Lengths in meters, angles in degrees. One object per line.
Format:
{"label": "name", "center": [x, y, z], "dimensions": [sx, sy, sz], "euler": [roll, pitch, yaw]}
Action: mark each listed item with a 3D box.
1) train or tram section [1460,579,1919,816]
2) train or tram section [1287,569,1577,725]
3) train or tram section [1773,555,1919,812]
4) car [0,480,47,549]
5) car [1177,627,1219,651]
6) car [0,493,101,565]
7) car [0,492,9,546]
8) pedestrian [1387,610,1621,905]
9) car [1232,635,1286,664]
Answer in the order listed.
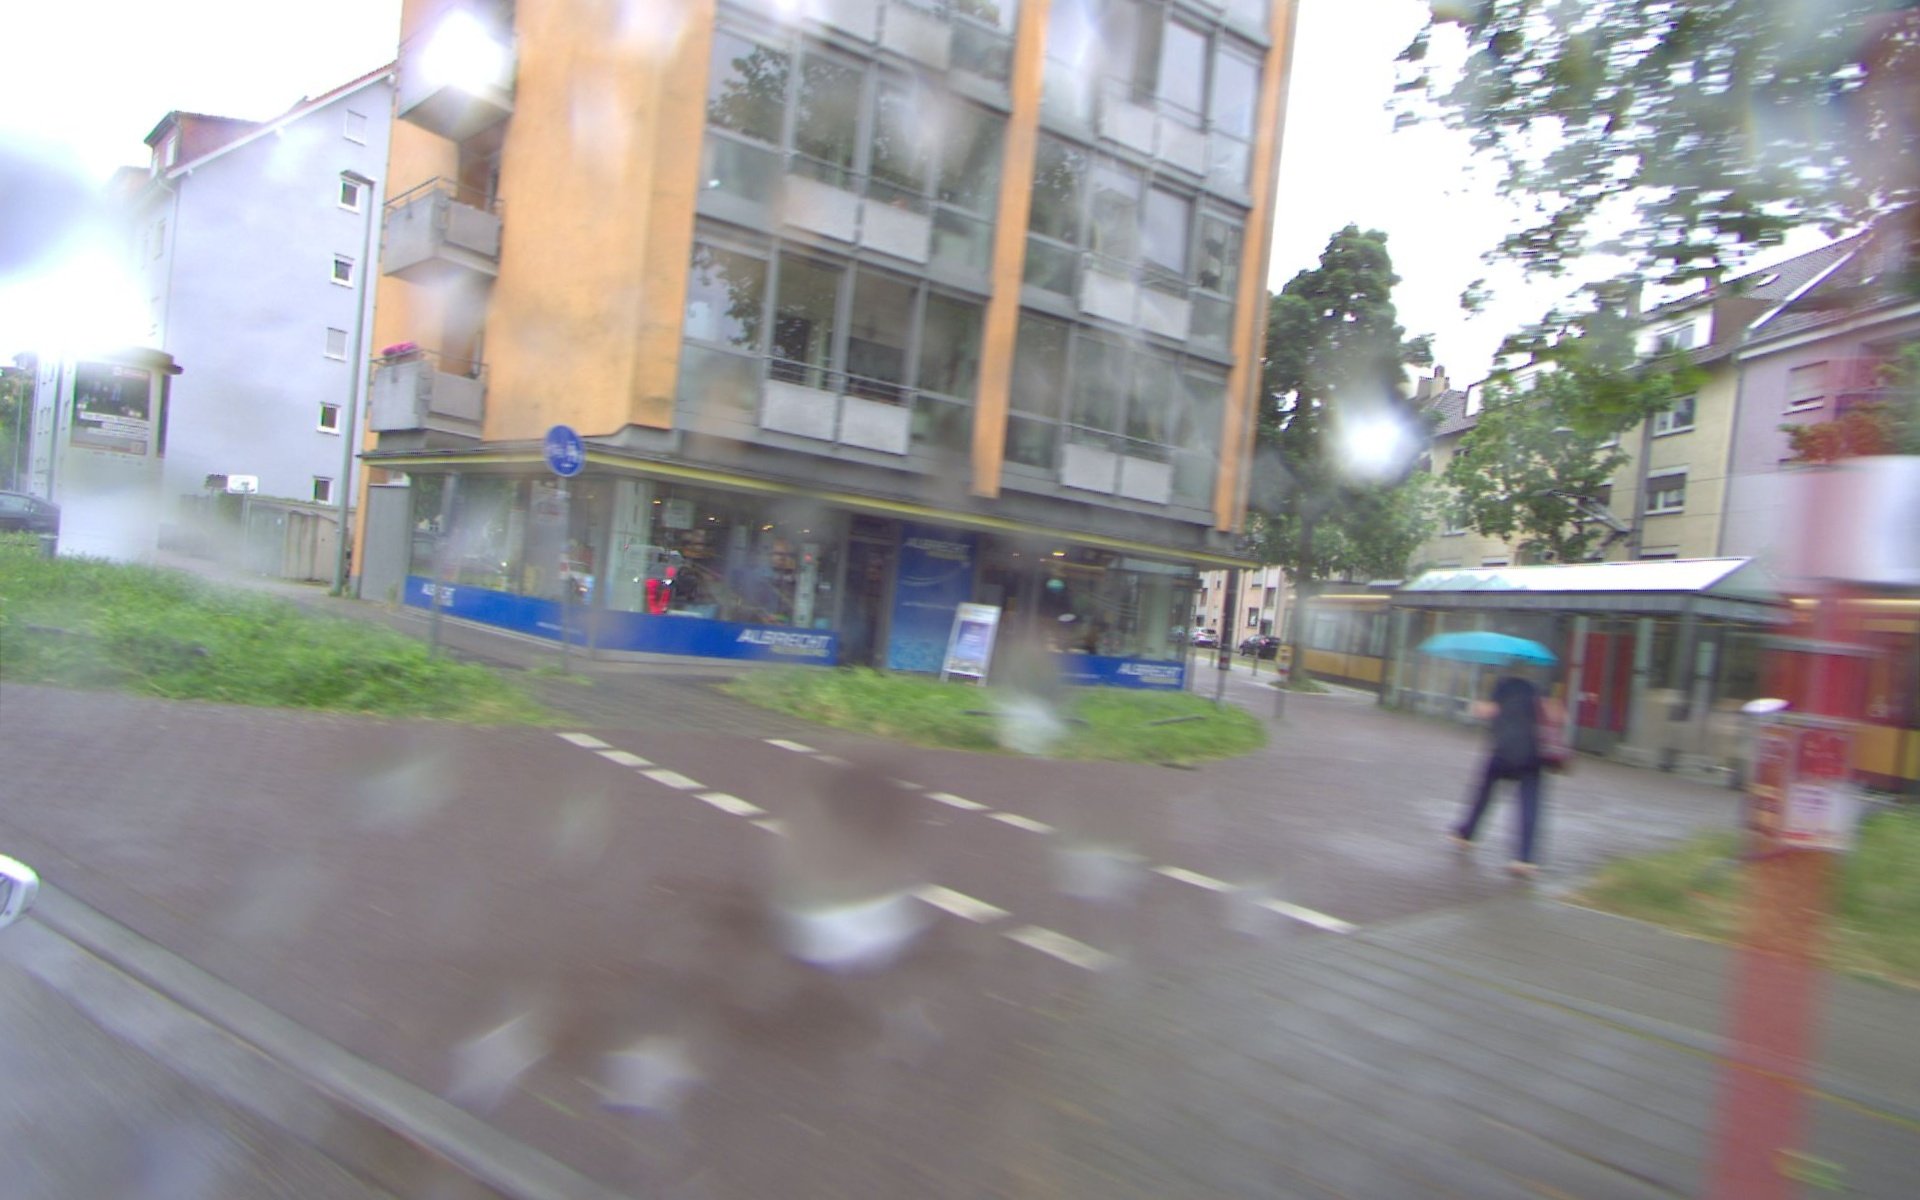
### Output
{"label": "train or tram section", "center": [13.578, 1.518, 19.637], "dimensions": [2.599, 3.392, 8.369], "euler": [7, 0, -4]}
{"label": "train or tram section", "center": [12.798, 1.116, 28.766], "dimensions": [2.599, 3.392, 9.979], "euler": [7, 0, -4]}
{"label": "train or tram section", "center": [14.180, 1.239, 11.285], "dimensions": [2.598, 3.411, 8.371], "euler": [7, 0, -3]}
{"label": "car", "center": [-28.132, -2.561, 27.624], "dimensions": [1.916, 1.828, 4.227], "euler": [6, 1, 38]}
{"label": "car", "center": [17.586, 2.842, 74.480], "dimensions": [1.771, 1.416, 3.996], "euler": [6, 0, -5]}
{"label": "car", "center": [-23.285, -1.837, 23.572], "dimensions": [1.956, 1.488, 4.524], "euler": [6, 0, 41]}
{"label": "car", "center": [-30.362, -2.629, 28.906], "dimensions": [1.862, 1.588, 4.184], "euler": [6, 0, 39]}
{"label": "pedestrian", "center": [4.033, 1.098, 7.646], "dimensions": [1.152, 1.889, 1.385], "euler": [6, 1, 19]}
{"label": "car", "center": [18.648, 3.076, 62.845], "dimensions": [1.771, 1.416, 3.996], "euler": [6, 0, -5]}
